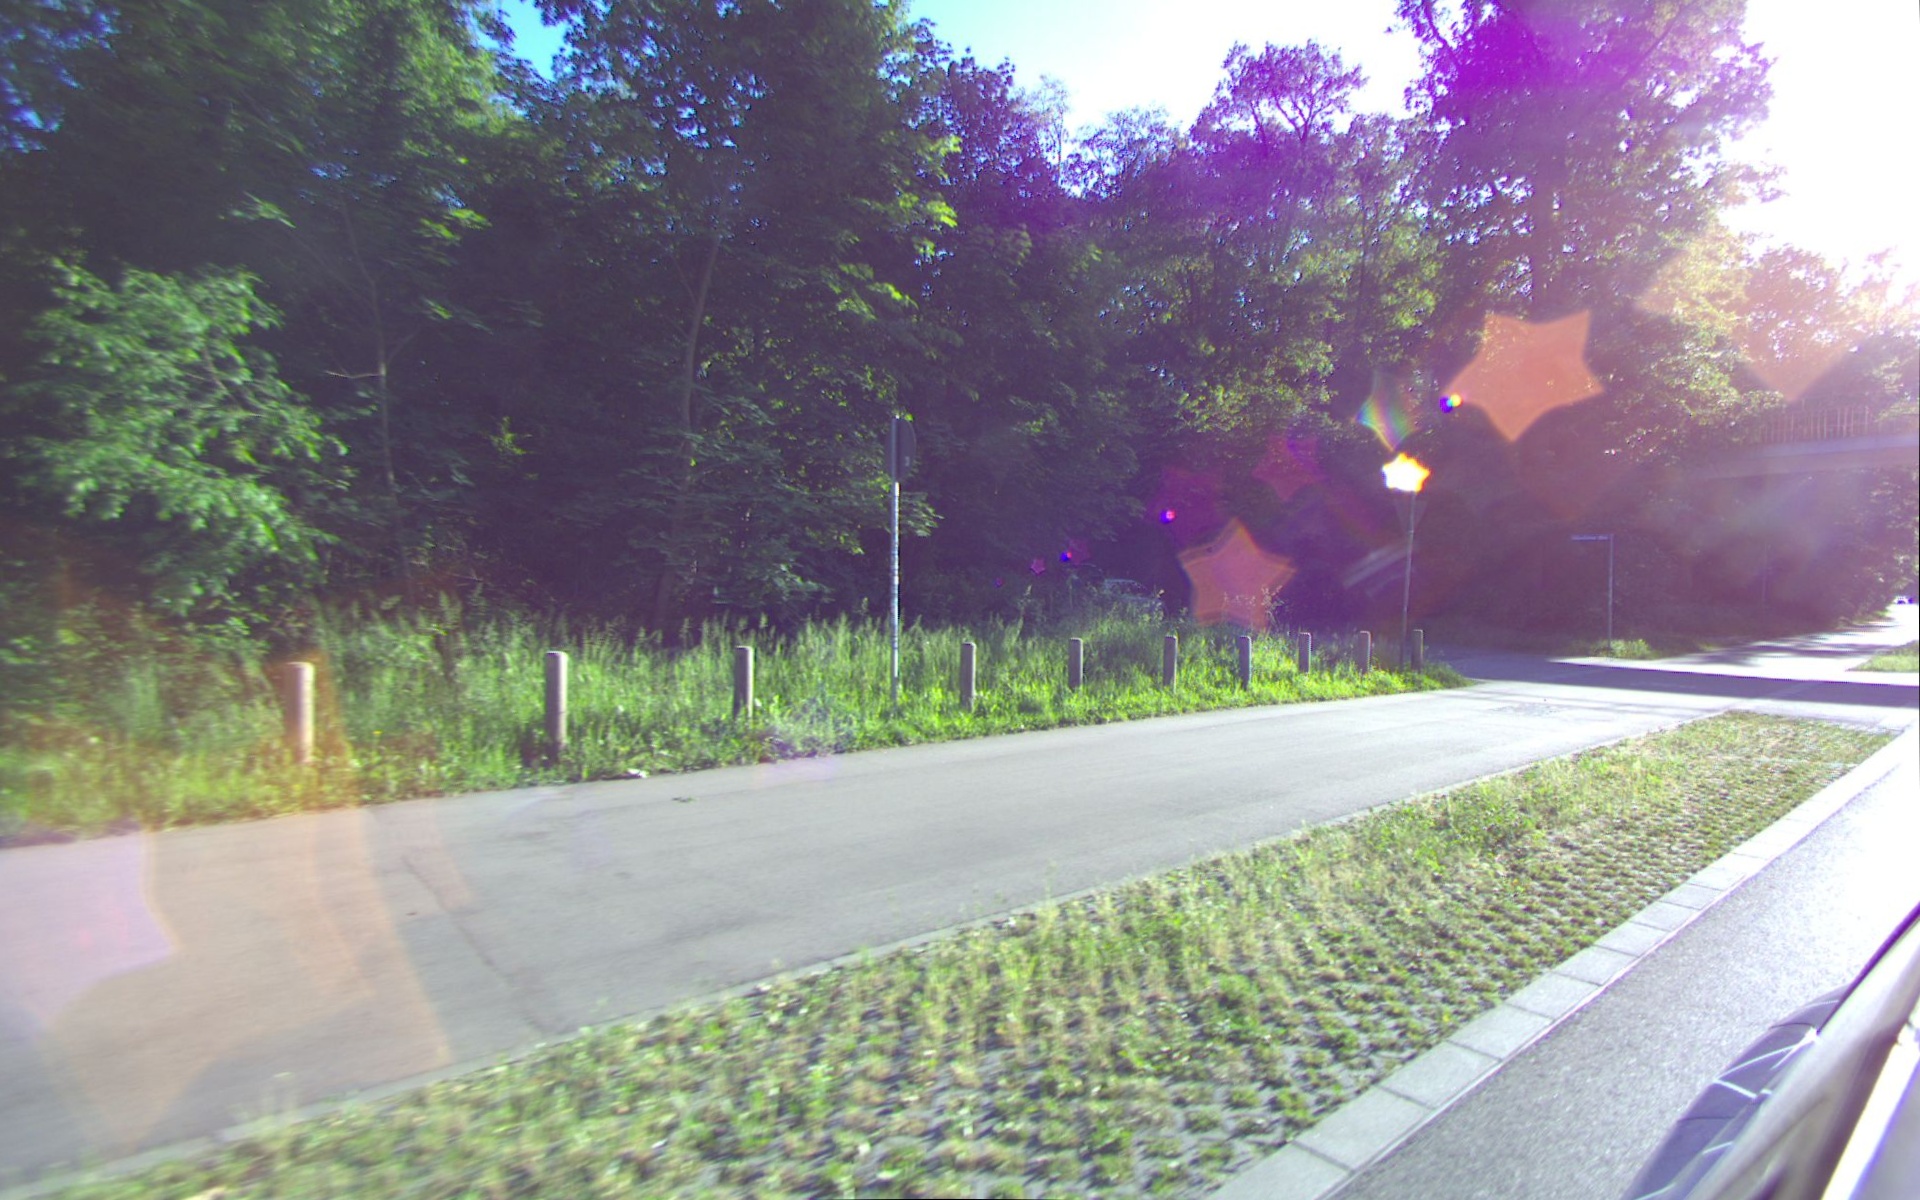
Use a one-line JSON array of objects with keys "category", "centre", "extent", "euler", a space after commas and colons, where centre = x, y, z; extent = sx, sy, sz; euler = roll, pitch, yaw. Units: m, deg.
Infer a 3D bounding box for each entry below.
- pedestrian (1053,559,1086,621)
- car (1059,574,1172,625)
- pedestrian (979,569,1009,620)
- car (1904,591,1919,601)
[{"category": "pedestrian", "centre": [3.364, -0.312, 31.062], "extent": [0.830, 1.896, 0.603], "euler": [0, 1, -40]}, {"category": "car", "centre": [5.118, -0.047, 32.975], "extent": [1.736, 1.544, 3.937], "euler": [1, 1, 44]}, {"category": "pedestrian", "centre": [1.129, -0.181, 33.538], "extent": [0.709, 1.674, 0.662], "euler": [2, 1, 43]}, {"category": "car", "centre": [170.904, -0.801, 181.743], "extent": [1.820, 1.705, 3.941], "euler": [2, 1, 41]}]
